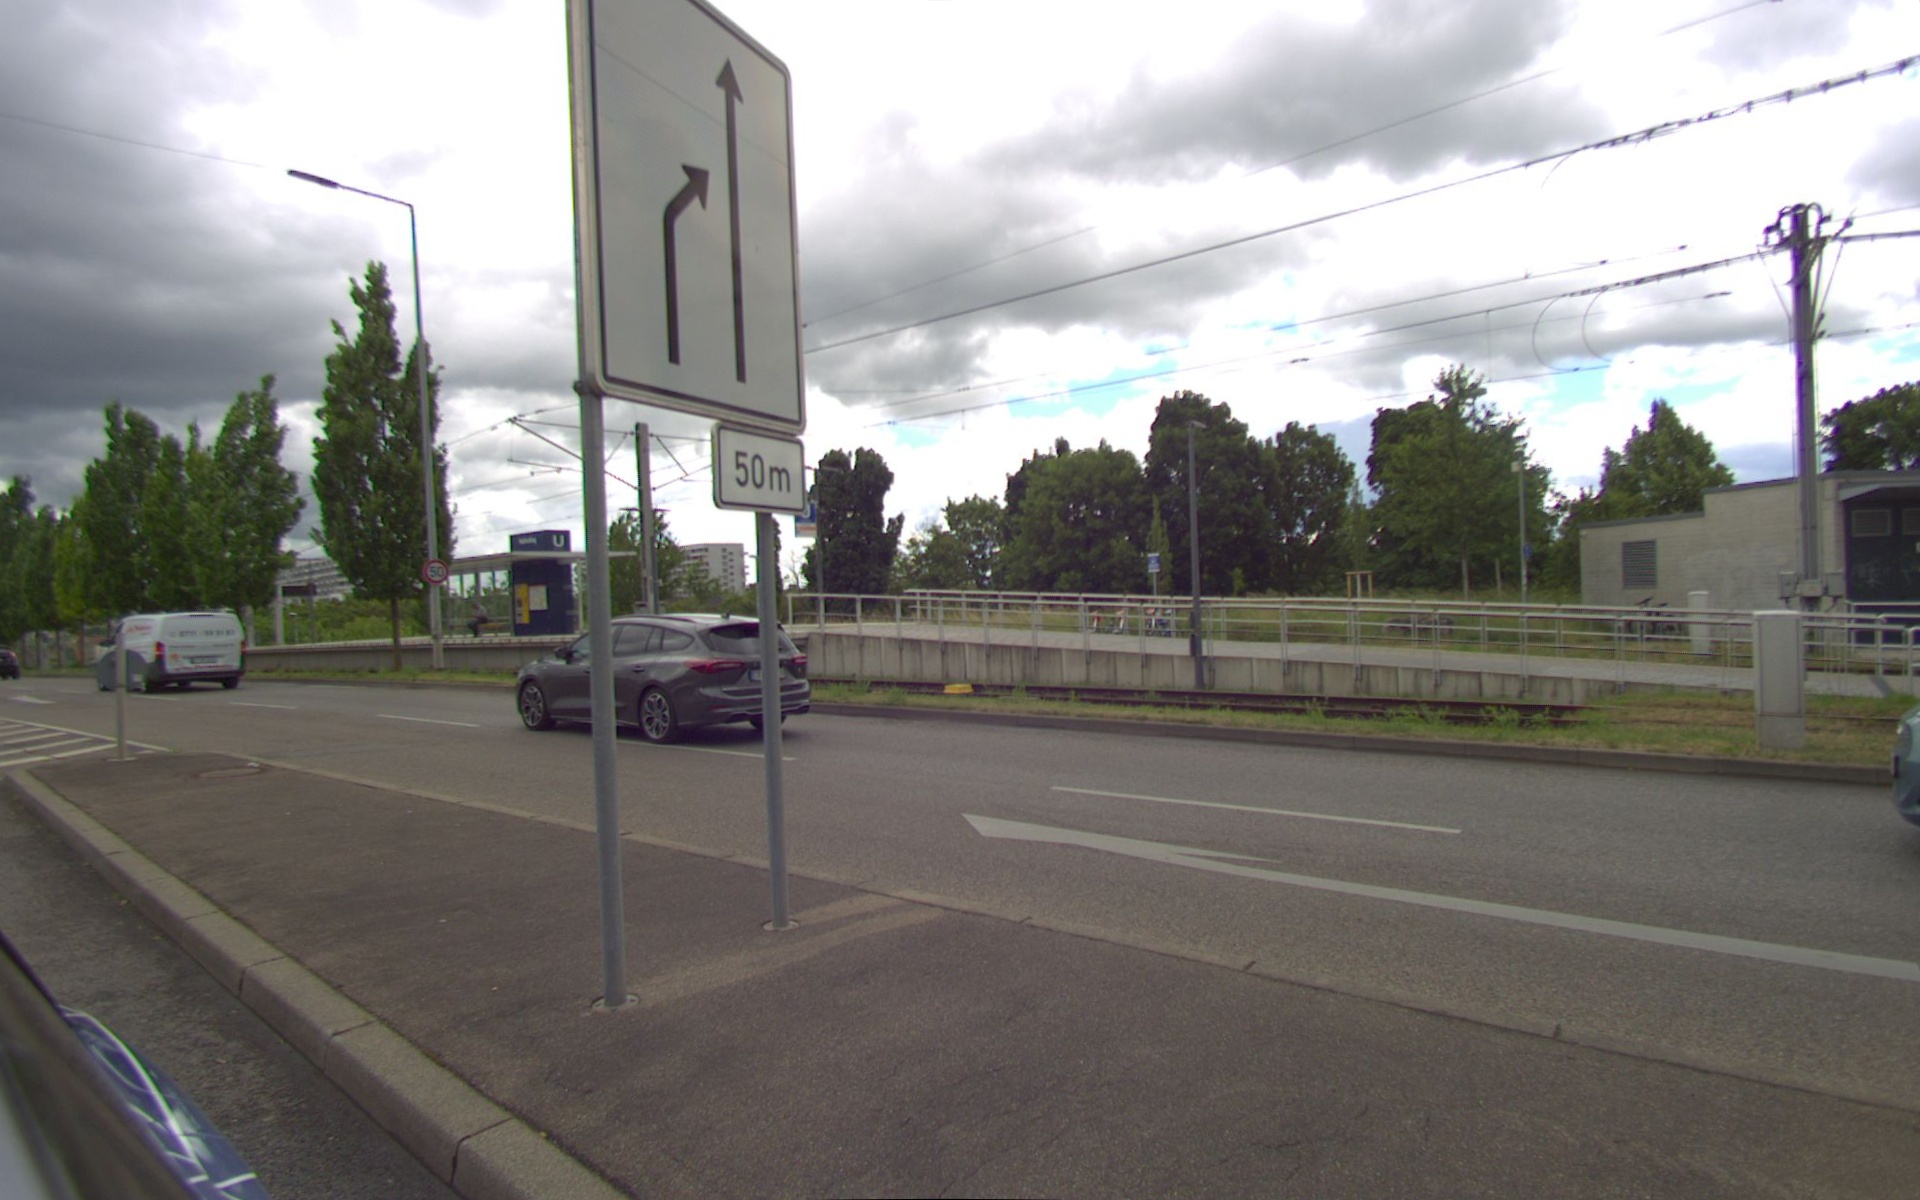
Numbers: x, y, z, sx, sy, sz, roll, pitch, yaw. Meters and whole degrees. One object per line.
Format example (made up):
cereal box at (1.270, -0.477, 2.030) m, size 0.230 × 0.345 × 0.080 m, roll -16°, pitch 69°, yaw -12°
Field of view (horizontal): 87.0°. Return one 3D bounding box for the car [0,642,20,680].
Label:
car at (-39.906, 2.500, 41.440) m, size 3.658 × 1.460 × 1.678 m, roll -2°, pitch -1°, yaw 41°

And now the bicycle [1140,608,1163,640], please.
bicycle at (6.441, 0.797, 33.989) m, size 0.531 × 1.039 × 1.804 m, roll -1°, pitch 0°, yaw 16°

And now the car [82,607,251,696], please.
car at (-19.895, 1.195, 25.290) m, size 5.361 × 1.979 × 1.898 m, roll -1°, pitch 0°, yaw 36°

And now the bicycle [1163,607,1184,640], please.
bicycle at (7.124, 0.780, 33.693) m, size 0.531 × 1.039 × 1.804 m, roll -1°, pitch 0°, yaw 16°

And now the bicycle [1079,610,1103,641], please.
bicycle at (4.508, 0.862, 34.853) m, size 0.531 × 1.039 × 1.804 m, roll -1°, pitch 0°, yaw 16°

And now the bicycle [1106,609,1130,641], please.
bicycle at (5.385, 0.828, 34.442) m, size 0.531 × 1.039 × 1.804 m, roll -1°, pitch 0°, yaw 16°

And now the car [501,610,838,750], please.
car at (-3.756, 0.867, 12.706) m, size 4.427 × 1.435 × 1.852 m, roll -1°, pitch 0°, yaw 39°

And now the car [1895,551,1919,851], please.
car at (6.783, 0.498, 4.658) m, size 3.600 × 1.540 × 1.737 m, roll -1°, pitch 0°, yaw 43°

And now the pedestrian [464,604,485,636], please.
pedestrian at (-18.228, 0.742, 37.978) m, size 0.447 × 1.163 × 0.593 m, roll -1°, pitch 0°, yaw 41°

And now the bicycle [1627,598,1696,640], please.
bicycle at (18.075, 0.483, 26.105) m, size 0.529 × 1.039 × 1.813 m, roll -1°, pitch 0°, yaw 1°
